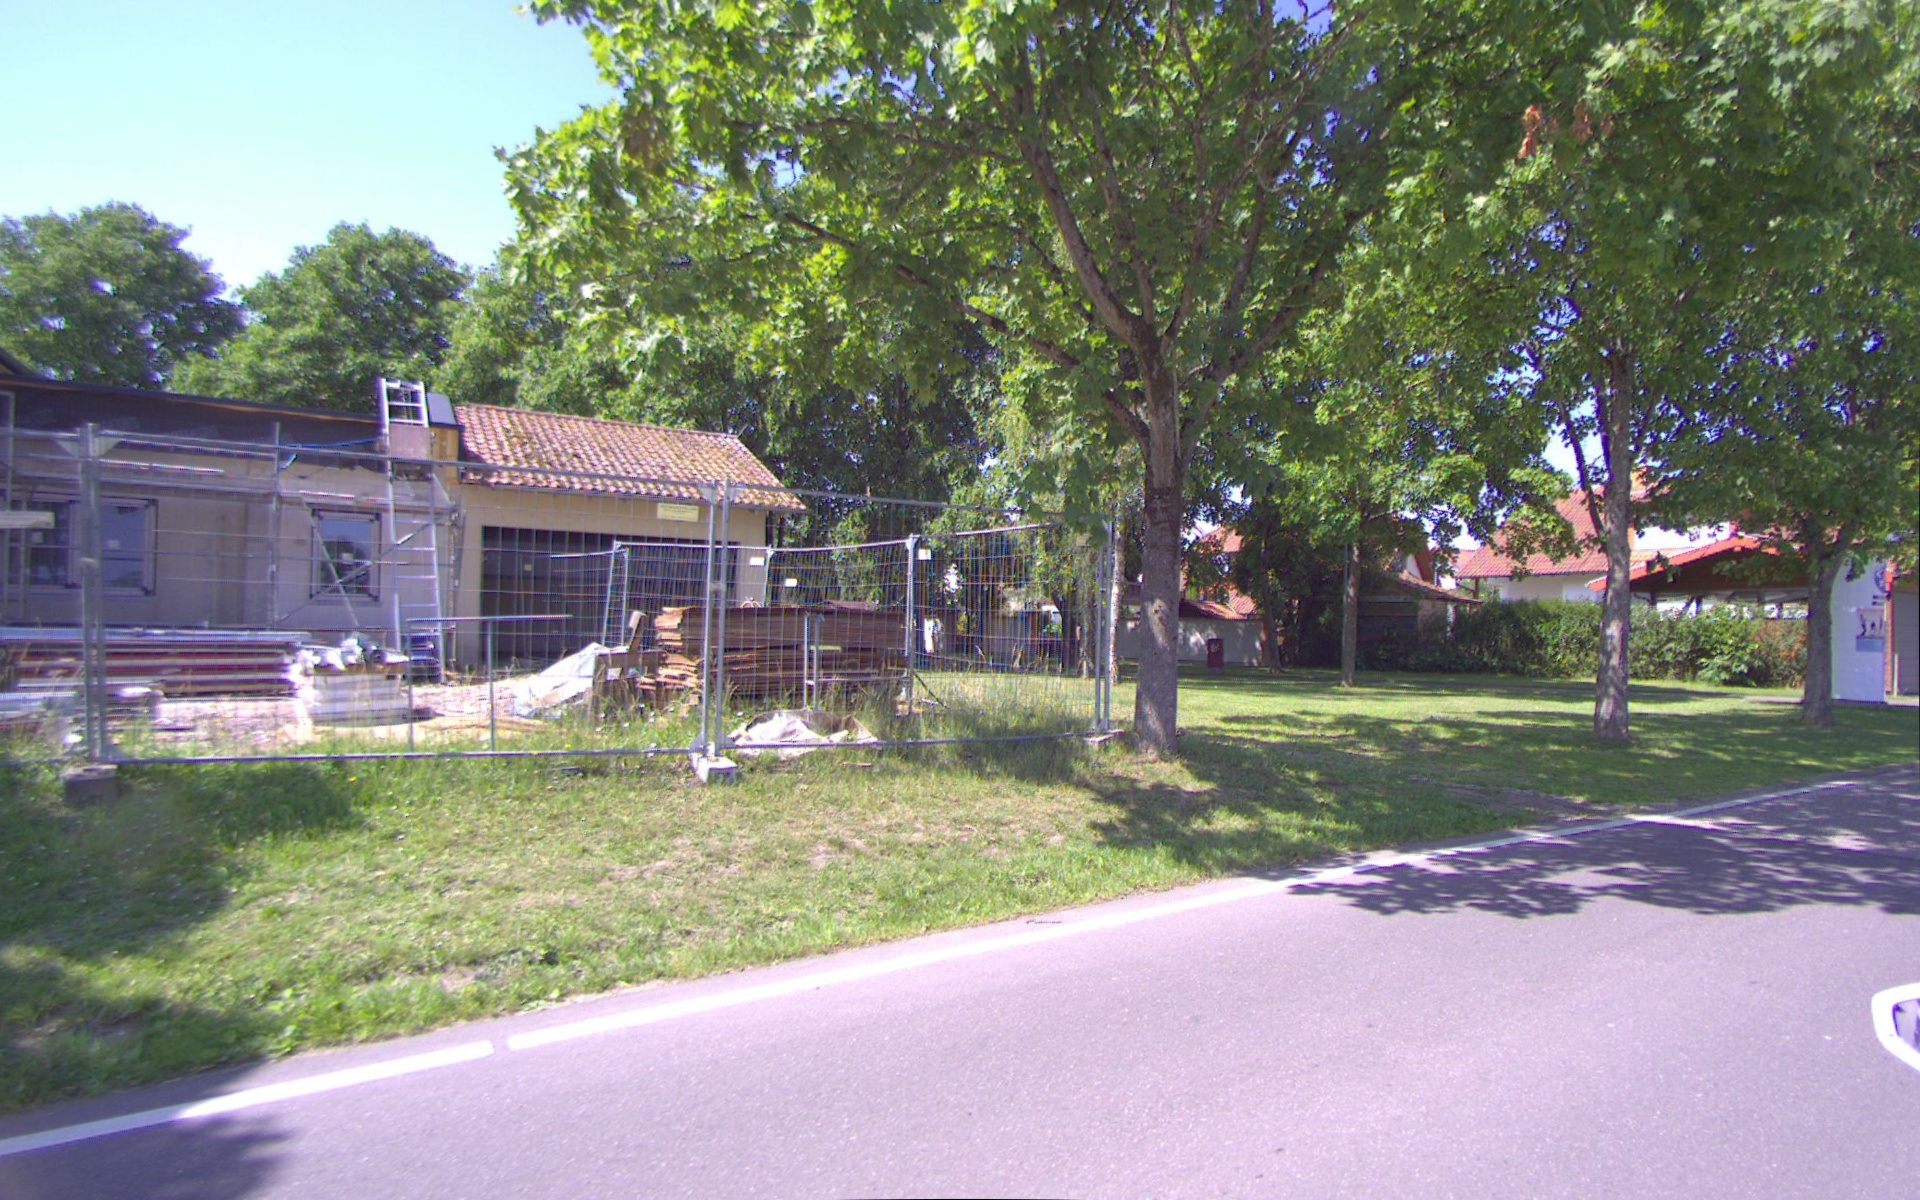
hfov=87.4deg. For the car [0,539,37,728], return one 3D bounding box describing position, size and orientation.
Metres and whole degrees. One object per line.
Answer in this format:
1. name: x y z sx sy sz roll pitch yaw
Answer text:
1. car: -11.386 0.273 8.959 4.280 1.862 1.960 2 -1 -32
